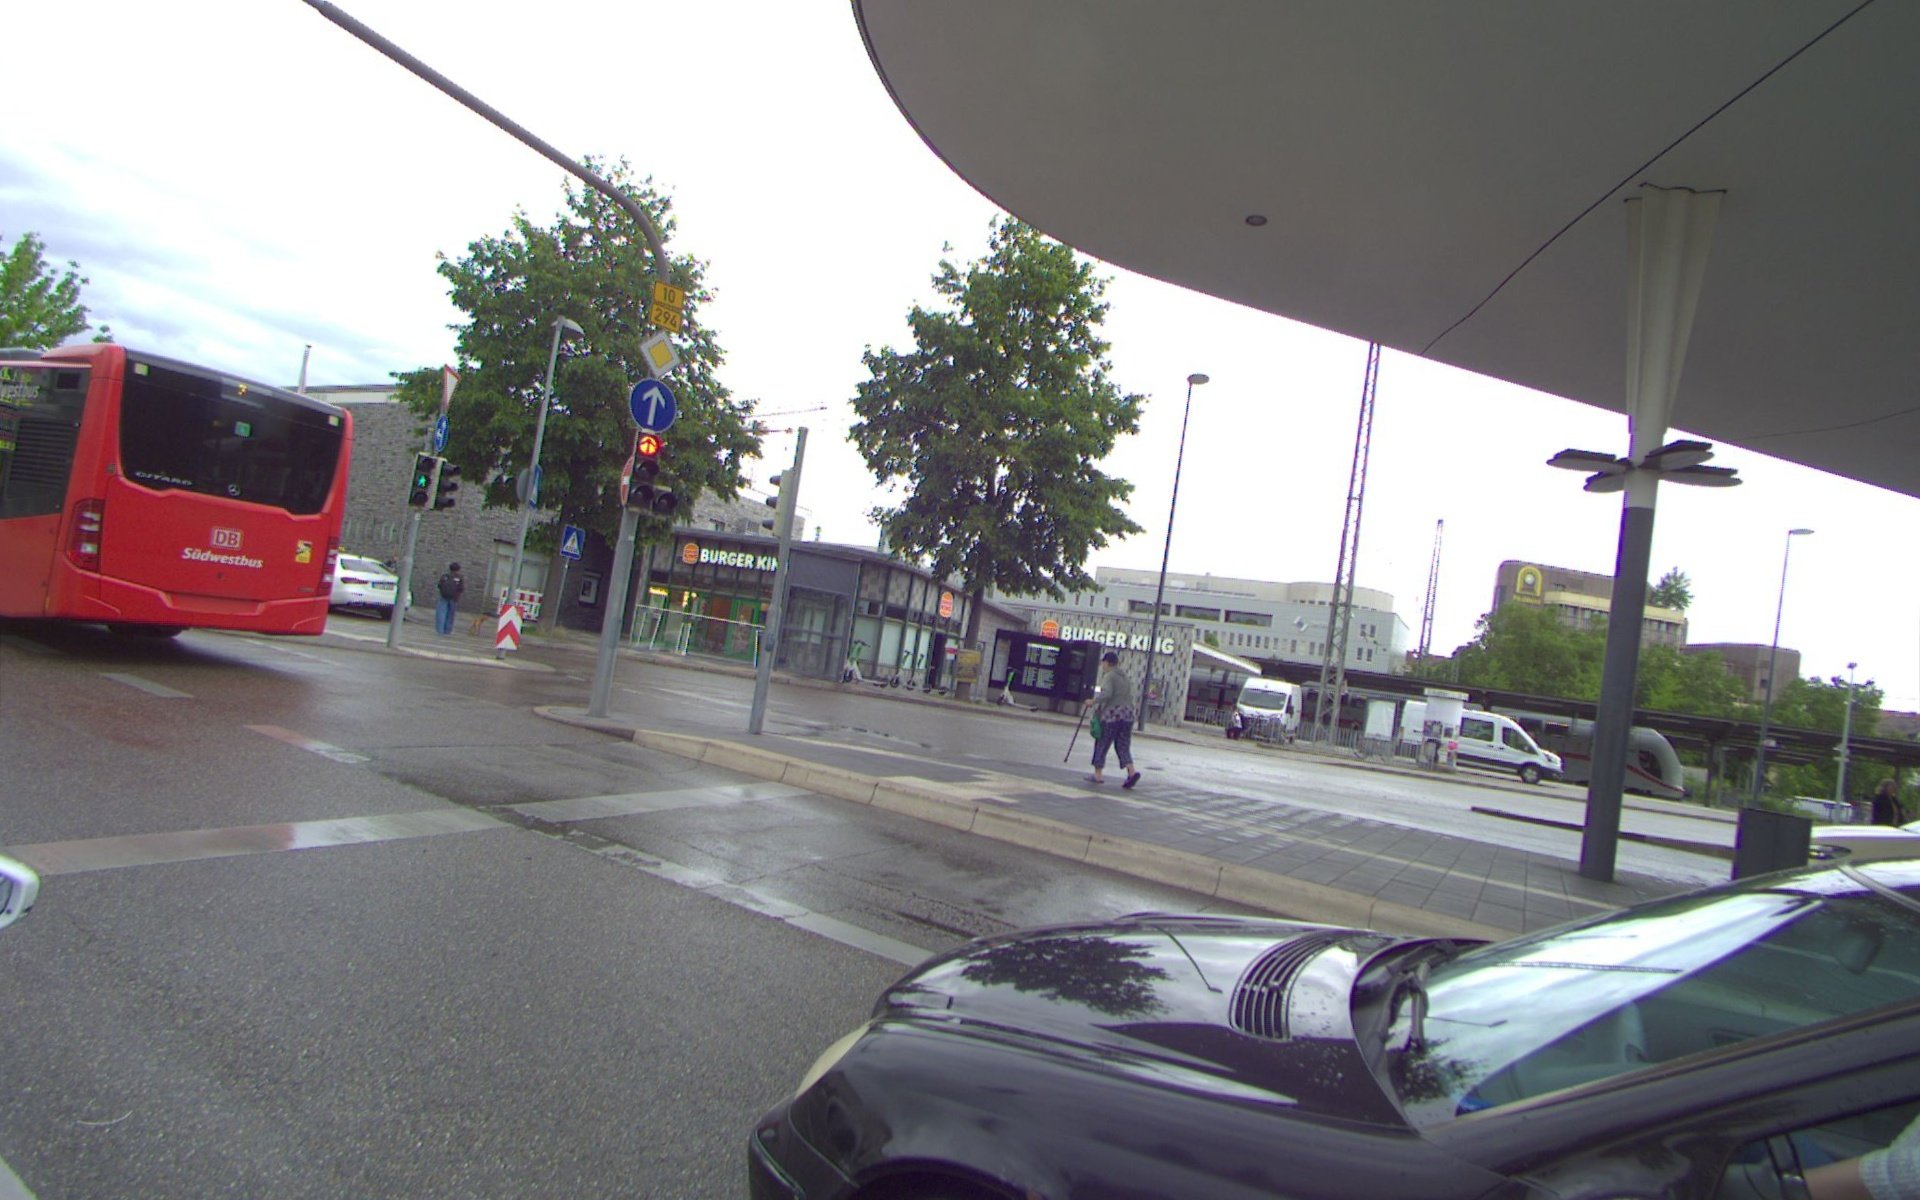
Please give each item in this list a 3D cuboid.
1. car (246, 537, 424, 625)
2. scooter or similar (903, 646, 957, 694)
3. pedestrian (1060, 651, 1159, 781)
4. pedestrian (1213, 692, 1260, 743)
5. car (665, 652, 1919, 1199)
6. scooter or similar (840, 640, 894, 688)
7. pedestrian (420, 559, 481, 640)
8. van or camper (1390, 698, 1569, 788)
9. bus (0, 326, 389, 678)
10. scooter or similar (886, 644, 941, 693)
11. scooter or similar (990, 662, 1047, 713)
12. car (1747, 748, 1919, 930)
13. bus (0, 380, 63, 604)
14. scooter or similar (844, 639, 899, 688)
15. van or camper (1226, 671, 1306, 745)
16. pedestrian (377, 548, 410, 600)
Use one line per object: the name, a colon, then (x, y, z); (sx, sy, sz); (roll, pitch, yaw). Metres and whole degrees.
car: (-15.841, -0.504, 25.449); (4.538, 1.608, 1.779); (7, -2, 30)
scooter or similar: (-0.936, 2.161, 31.164); (1.503, 1.284, 0.467); (8, -1, -4)
pedestrian: (1.759, 1.355, 11.793); (0.753, 1.374, 0.738); (7, -3, 31)
pedestrian: (9.587, 4.081, 34.920); (0.910, 1.552, 1.096); (9, -2, -36)
car: (1.784, 1.158, 1.476); (4.362, 1.493, 1.754); (5, -8, 31)
scooter or similar: (-2.616, 1.806, 28.410); (1.313, 1.157, 0.464); (9, -2, -31)
pedestrian: (-11.591, 0.001, 22.893); (0.700, 1.693, 0.809); (7, -2, 31)
van or camper: (20.353, 5.545, 39.533); (5.873, 2.491, 2.108); (7, -2, 32)
bus: (-11.061, -1.247, 12.357); (7.977, 3.210, 2.752); (7, -2, 27)
scooter or similar: (-1.398, 2.063, 30.339); (1.503, 1.284, 0.467); (8, -1, -4)
scooter or similar: (1.725, 2.594, 29.766); (1.503, 1.284, 0.467); (8, -1, -4)
car: (11.245, 2.790, 10.555); (4.360, 1.665, 1.807); (7, -5, 32)
bus: (-18.849, -2.201, 16.171); (10.013, 3.210, 2.752); (7, -2, 26)
scooter or similar: (-2.448, 1.757, 27.752); (1.309, 1.167, 0.465); (9, -2, -21)
van or camper: (12.554, 4.410, 41.003); (2.072, 2.491, 5.975); (7, -3, 25)
pedestrian: (-19.398, -0.892, 34.453); (0.556, 1.652, 0.562); (7, -2, 30)
